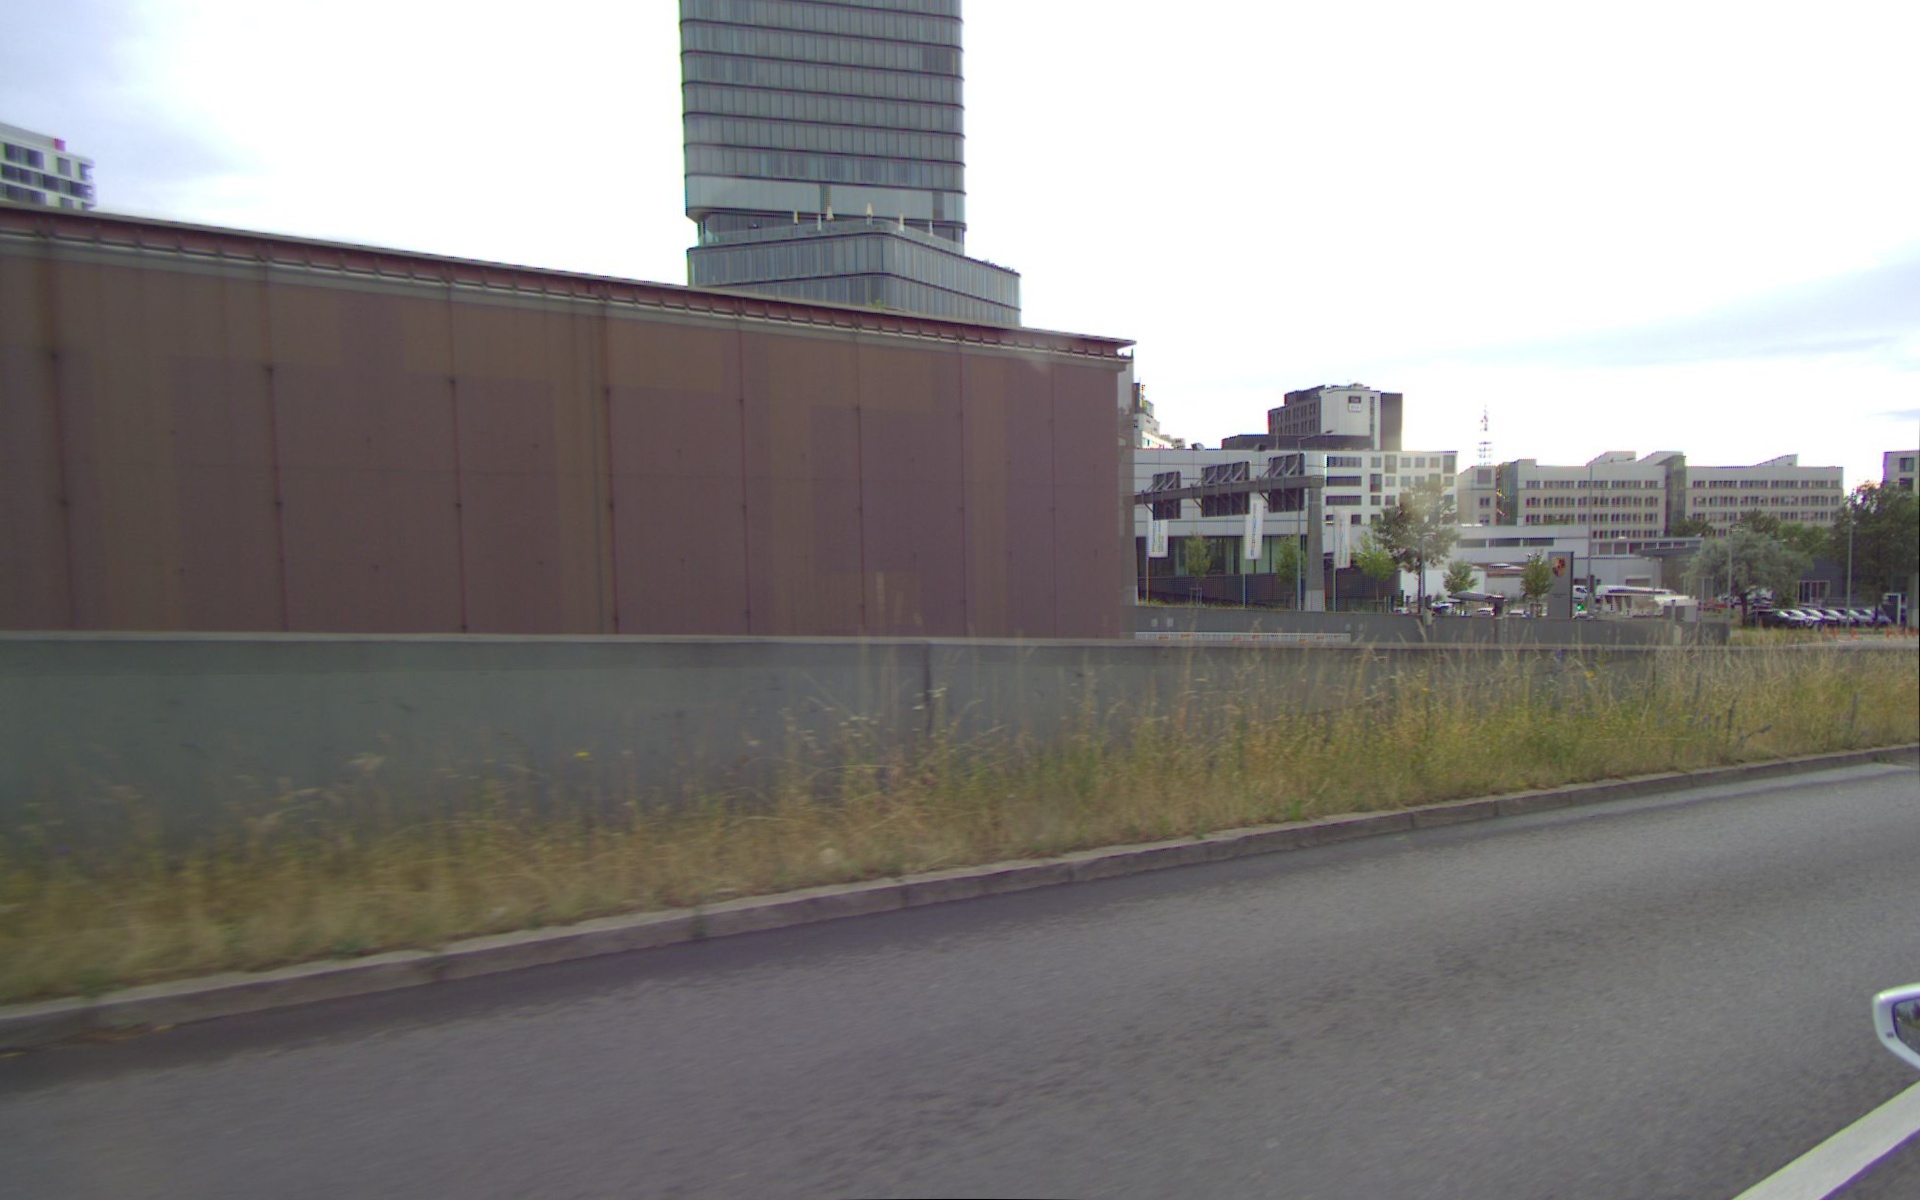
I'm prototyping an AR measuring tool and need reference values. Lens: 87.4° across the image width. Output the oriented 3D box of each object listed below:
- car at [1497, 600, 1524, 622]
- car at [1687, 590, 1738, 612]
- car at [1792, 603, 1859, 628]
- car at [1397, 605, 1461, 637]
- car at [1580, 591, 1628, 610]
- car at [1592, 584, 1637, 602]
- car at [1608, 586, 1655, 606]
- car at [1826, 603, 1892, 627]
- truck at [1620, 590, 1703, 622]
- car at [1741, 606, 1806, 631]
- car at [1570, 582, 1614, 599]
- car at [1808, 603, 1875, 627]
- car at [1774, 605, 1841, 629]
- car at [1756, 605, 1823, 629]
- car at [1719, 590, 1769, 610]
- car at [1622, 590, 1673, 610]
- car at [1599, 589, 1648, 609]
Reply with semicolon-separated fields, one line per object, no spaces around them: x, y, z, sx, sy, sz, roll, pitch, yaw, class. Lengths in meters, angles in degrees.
57.366;1.130;104.758;1.961;1.908;3.997;1;5;22;car
74.162;0.065;99.034;3.932;1.908;1.902;-2;5;-14;car
75.971;1.345;88.244;1.893;1.707;3.982;-2;5;-18;car
45.495;1.988;97.499;2.502;2.524;5.113;-3;6;-29;car
66.152;0.001;103.152;3.932;1.707;1.917;-2;5;-14;car
71.066;-0.729;109.109;3.932;1.707;1.917;-2;5;-14;car
71.143;-0.439;106.448;3.932;1.908;1.994;-2;5;-14;car
80.380;1.343;89.866;1.893;1.707;3.982;-2;5;-18;car
65.899;0.522;94.310;7.292;2.563;2.364;-2;5;-18;truck
69.573;1.557;85.973;1.672;1.622;3.996;-2;5;-18;car
70.553;-1.048;112.128;3.932;1.707;1.917;-2;5;-14;car
78.189;1.273;89.126;1.893;1.707;3.982;-2;5;-18;car
73.730;1.466;87.431;1.893;1.707;3.982;-2;5;-18;car
71.538;1.440;86.666;1.893;1.707;3.982;-2;5;-18;car
81.831;-0.047;104.821;3.941;1.807;1.913;4;6;41;car
67.172;0.000;98.191;3.932;1.707;1.917;-2;5;-14;car
66.717;-0.114;101.045;3.932;1.707;1.917;-2;5;-14;car
